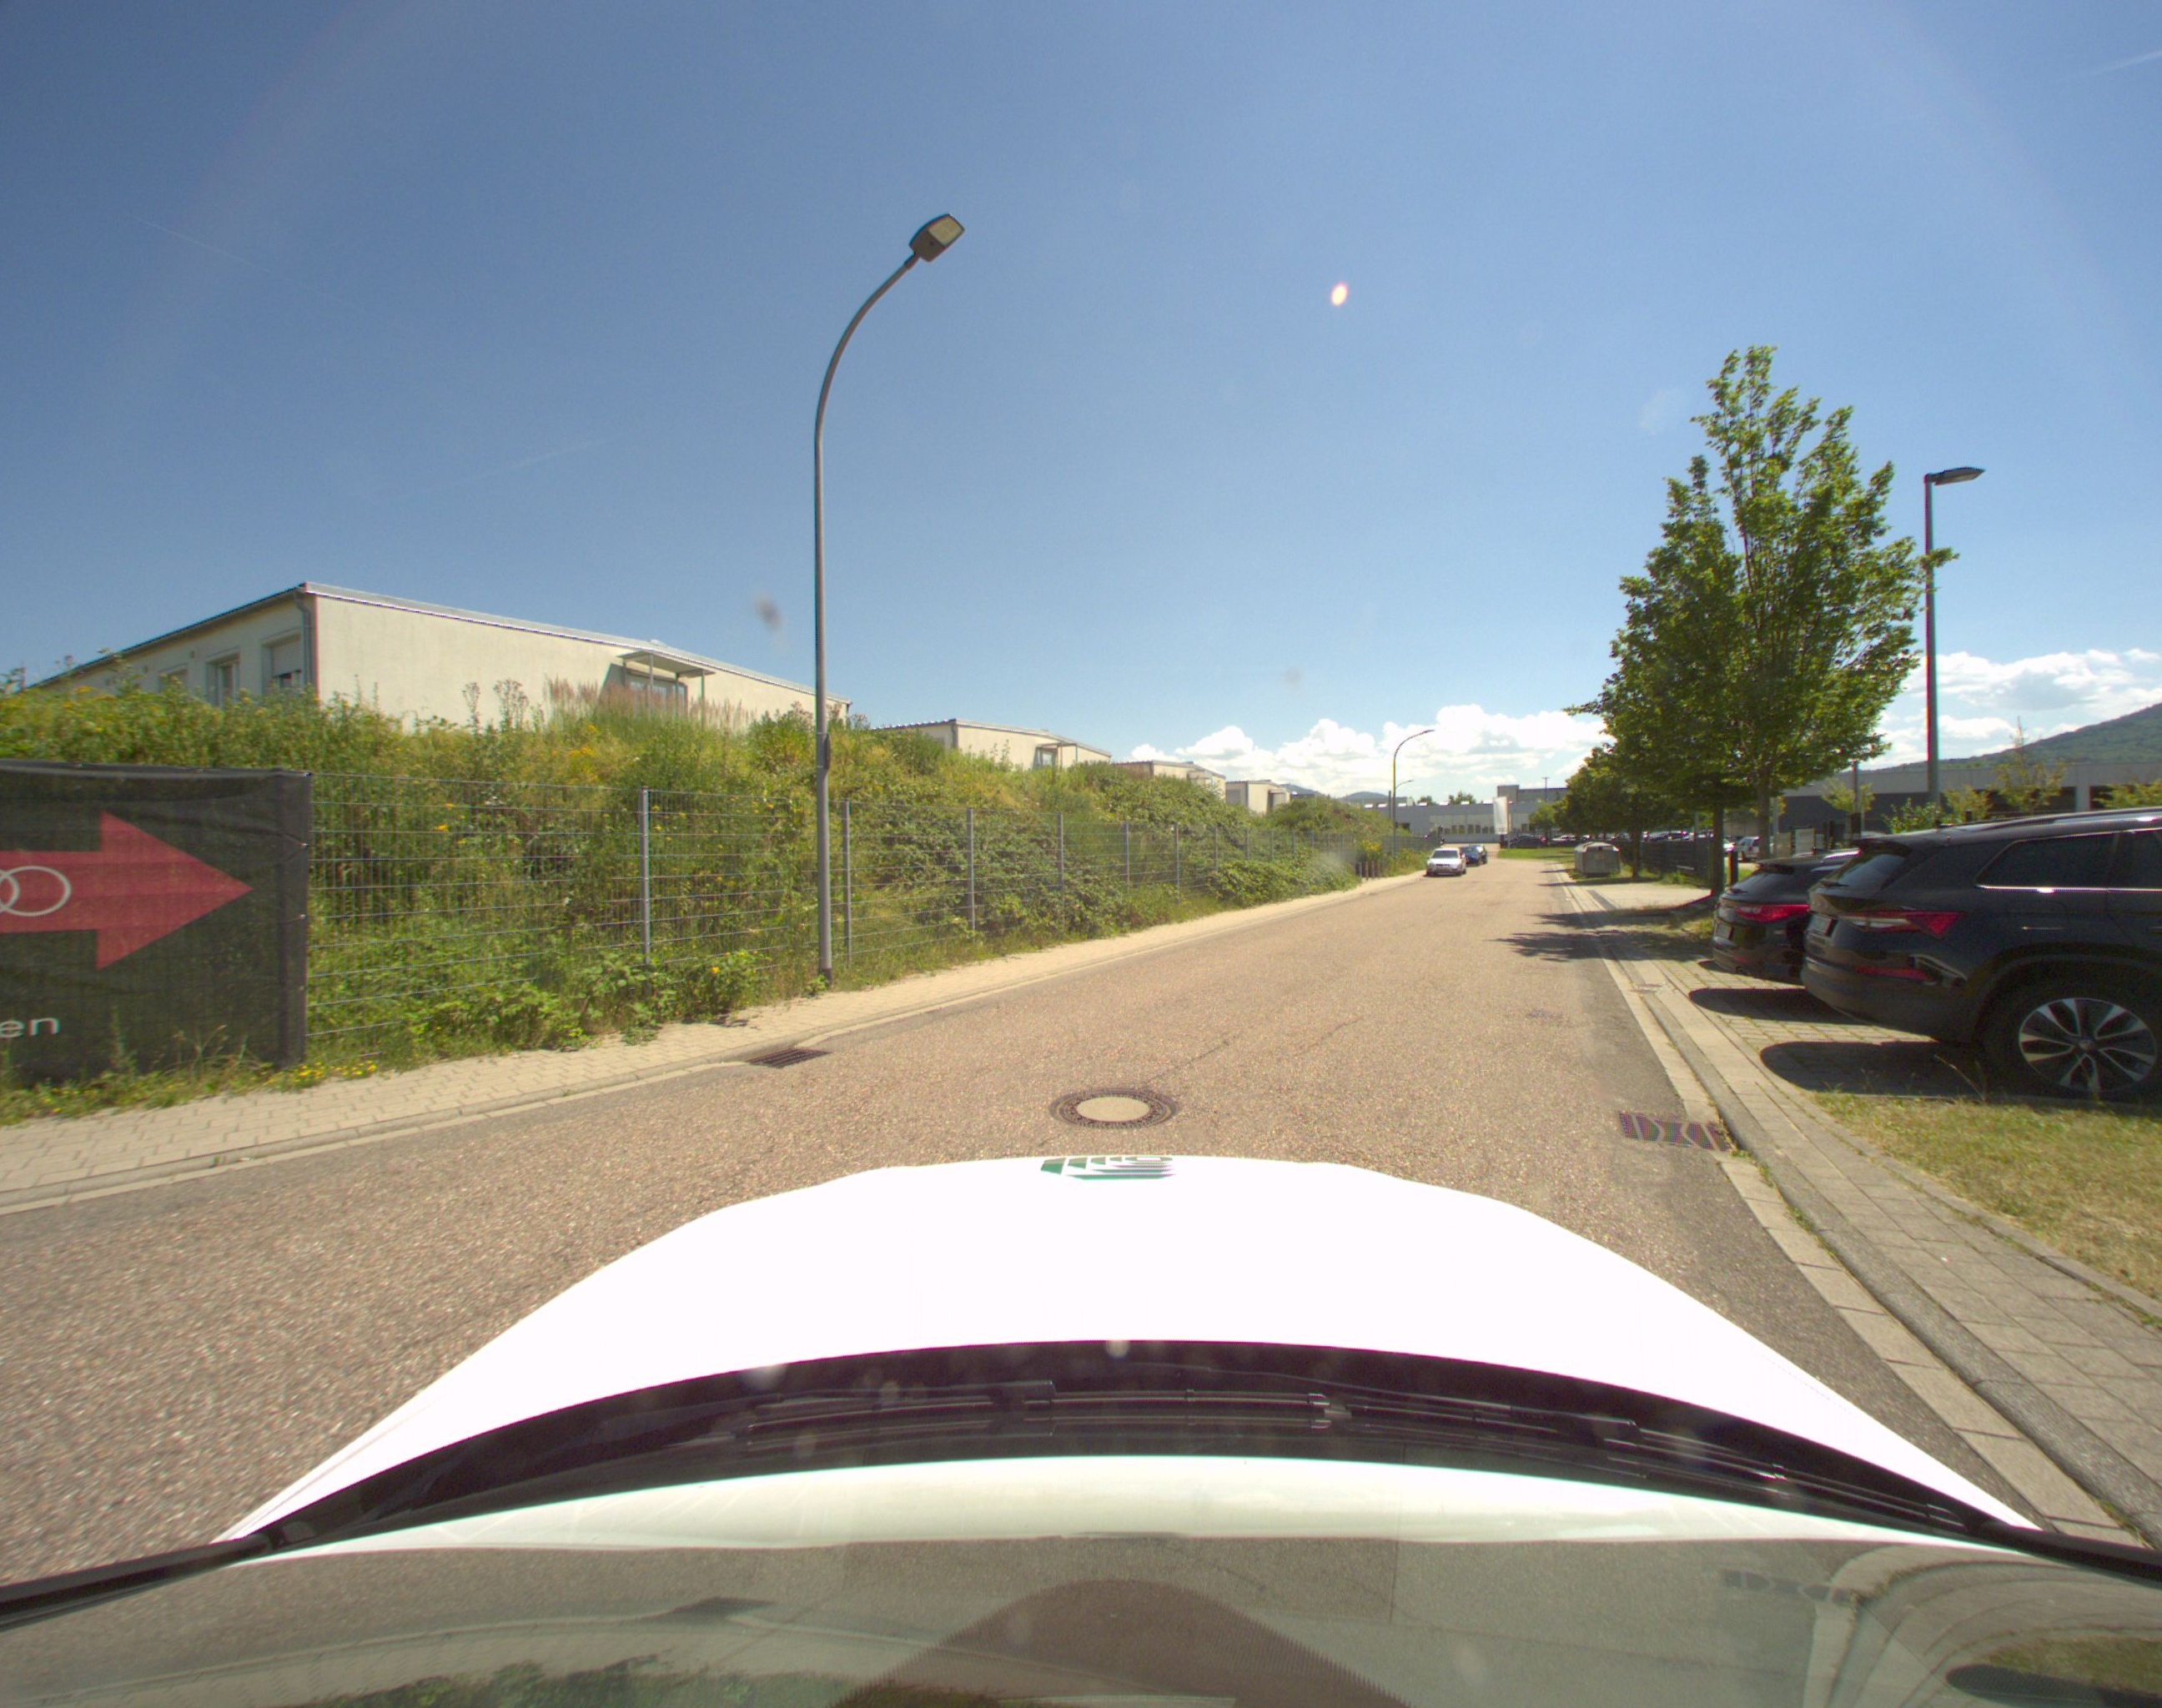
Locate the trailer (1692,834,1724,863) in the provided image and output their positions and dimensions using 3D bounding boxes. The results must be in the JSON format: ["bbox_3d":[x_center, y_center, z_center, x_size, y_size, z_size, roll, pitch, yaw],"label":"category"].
[{"bbox_3d":[46.588,-0.444,60.548,1.478,2.006,3.285,-1,2,31],"label":"trailer"}]

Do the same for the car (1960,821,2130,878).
[{"bbox_3d":[30.554,-0.067,26.036,1.822,1.653,4.678,-1,-2,27],"label":"car"}]

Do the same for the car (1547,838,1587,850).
[{"bbox_3d":[58.169,-1.183,97.549,3.949,1.398,2.012,-1,-2,28],"label":"car"}]

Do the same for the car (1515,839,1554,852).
[{"bbox_3d":[52.797,-1.019,94.923,3.949,1.398,2.012,-1,-2,28],"label":"car"}]

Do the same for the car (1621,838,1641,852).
[{"bbox_3d":[79.066,-1.324,117.128,1.974,1.827,4.024,-1,-2,29],"label":"car"}]

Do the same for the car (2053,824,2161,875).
[{"bbox_3d":[32.519,-0.088,24.946,1.822,1.433,4.678,-1,-2,27],"label":"car"}]

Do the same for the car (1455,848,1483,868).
[{"bbox_3d":[28.458,0.281,59.673,1.640,1.417,4.171,-1,0,28],"label":"car"}]

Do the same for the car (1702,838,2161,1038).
[{"bbox_3d":[7.995,0.653,7.220,3.677,1.495,1.793,-2,-1,27],"label":"car"}]

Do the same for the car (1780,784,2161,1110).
[{"bbox_3d":[6.877,0.484,4.782,3.948,1.765,1.735,-2,-1,32],"label":"car"}]

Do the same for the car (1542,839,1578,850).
[{"bbox_3d":[61.899,-1.211,105.307,3.949,1.398,2.012,-1,-2,28],"label":"car"}]

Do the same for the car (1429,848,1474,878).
[{"bbox_3d":[20.376,0.476,44.657,1.816,1.546,4.394,-1,0,30],"label":"car"}]

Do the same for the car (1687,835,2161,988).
[{"bbox_3d":[9.631,0.605,9.413,3.949,1.495,1.735,-2,-1,27],"label":"car"}]

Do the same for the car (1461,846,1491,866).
[{"bbox_3d":[31.226,0.134,64.304,1.816,1.546,4.291,-1,0,30],"label":"car"}]

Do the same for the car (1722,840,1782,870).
[{"bbox_3d":[38.243,0.008,46.530,1.773,1.531,4.449,-1,2,28],"label":"car"}]
